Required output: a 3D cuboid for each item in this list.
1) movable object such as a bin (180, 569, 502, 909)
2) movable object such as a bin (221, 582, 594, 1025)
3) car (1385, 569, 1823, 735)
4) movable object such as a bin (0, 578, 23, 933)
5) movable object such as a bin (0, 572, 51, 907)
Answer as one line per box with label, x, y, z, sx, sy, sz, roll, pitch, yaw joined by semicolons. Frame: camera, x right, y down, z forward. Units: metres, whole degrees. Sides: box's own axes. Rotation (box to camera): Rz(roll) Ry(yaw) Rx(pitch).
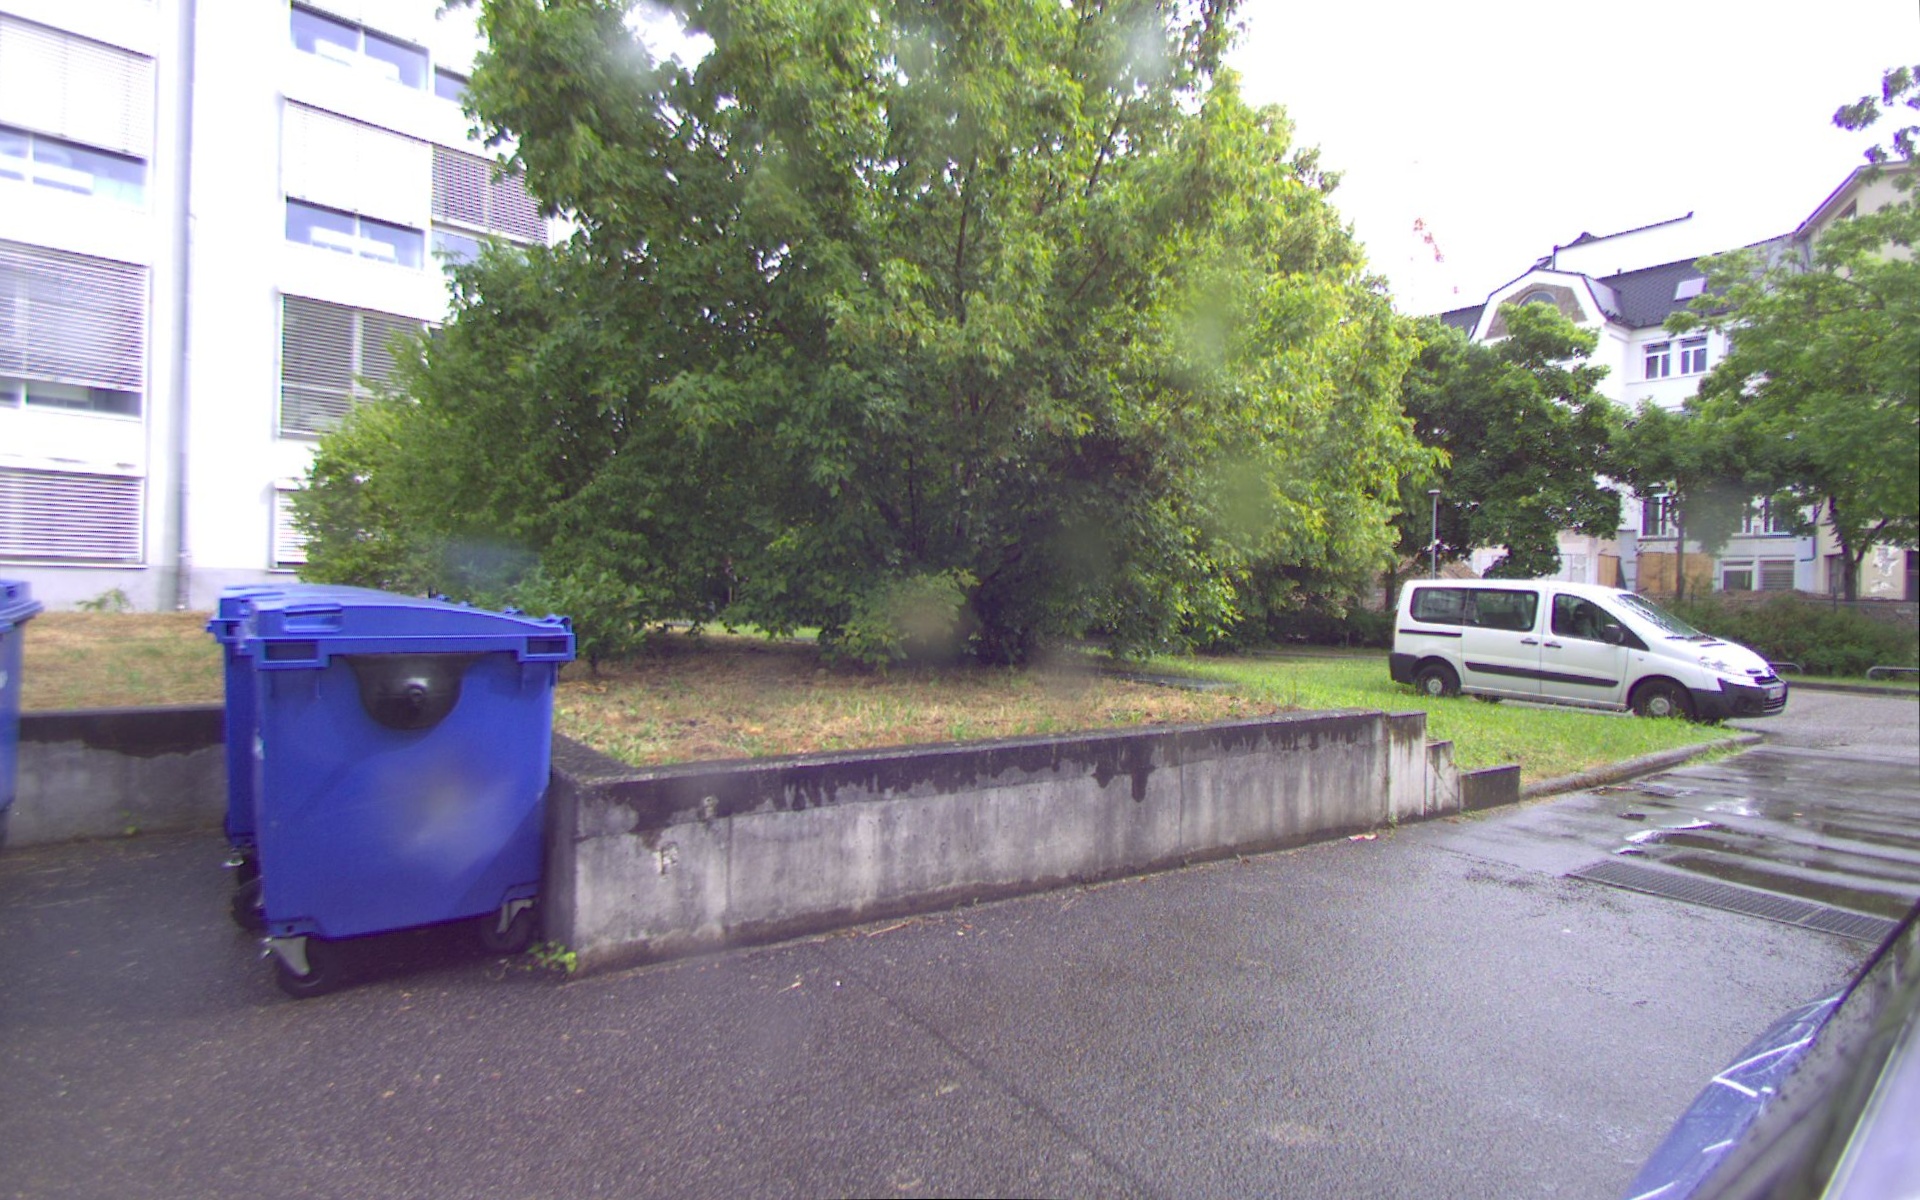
movable object such as a bin;-3.016;0.551;4.947;1.174;1.353;1.297;1;1;-35
movable object such as a bin;-2.163;0.609;3.916;1.074;1.308;1.342;1;2;-35
car;8.904;0.589;14.472;2.059;1.950;4.890;0;0;-35
movable object such as a bin;-3.808;0.596;3.184;1.062;1.320;1.377;1;1;-35
movable object such as a bin;-4.610;0.543;4.213;1.086;1.320;1.189;1;1;-36
